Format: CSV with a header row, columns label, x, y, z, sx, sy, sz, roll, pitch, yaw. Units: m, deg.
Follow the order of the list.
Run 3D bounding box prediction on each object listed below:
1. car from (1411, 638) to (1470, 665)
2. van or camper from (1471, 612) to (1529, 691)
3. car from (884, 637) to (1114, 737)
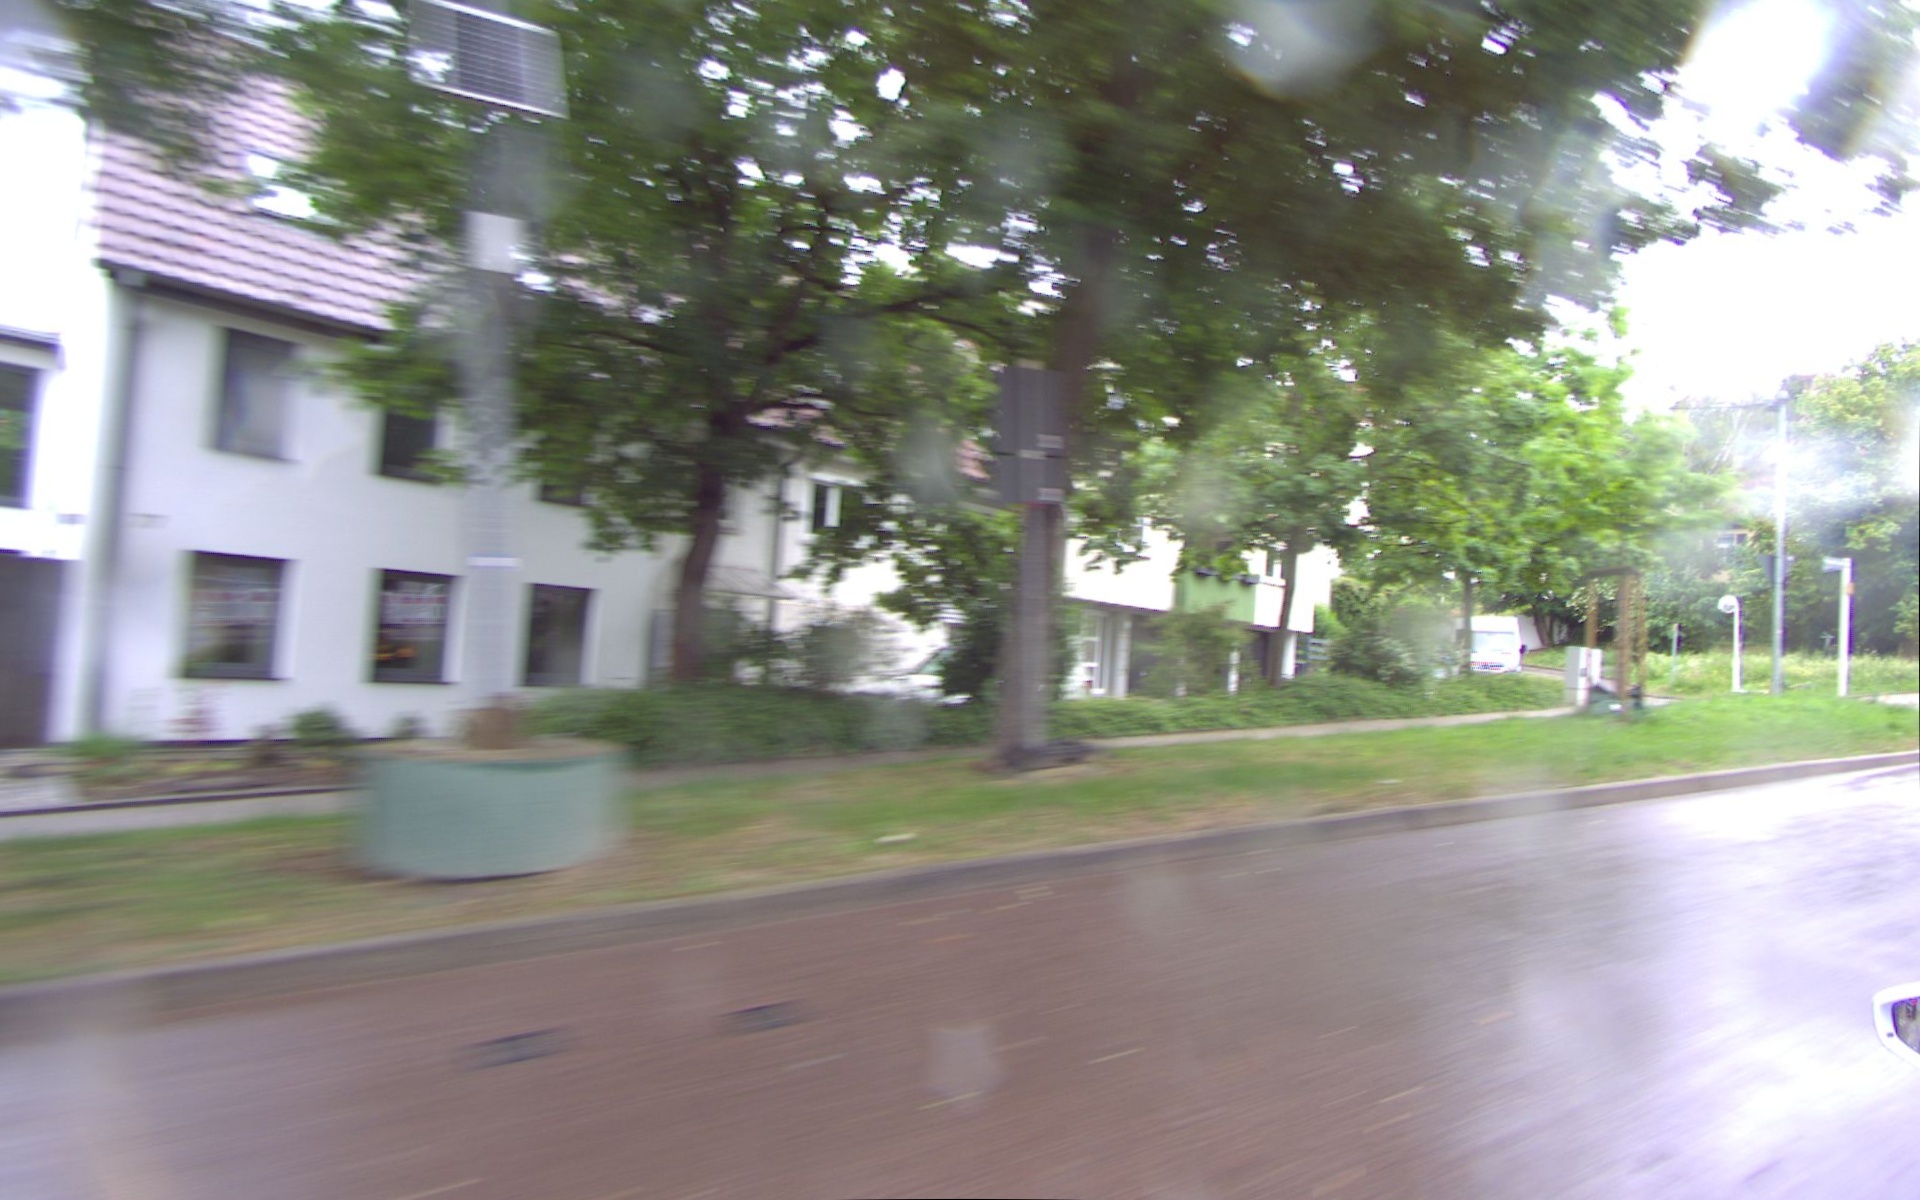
label,x,y,z,sx,sy,sz,roll,pitch,yaw
car,26.705,2.840,55.928,1.687,1.270,3.976,2,0,6
van or camper,20.081,1.816,37.230,1.612,2.591,6.054,4,1,30
car,0.699,1.345,16.607,3.425,1.347,1.974,2,0,-45
